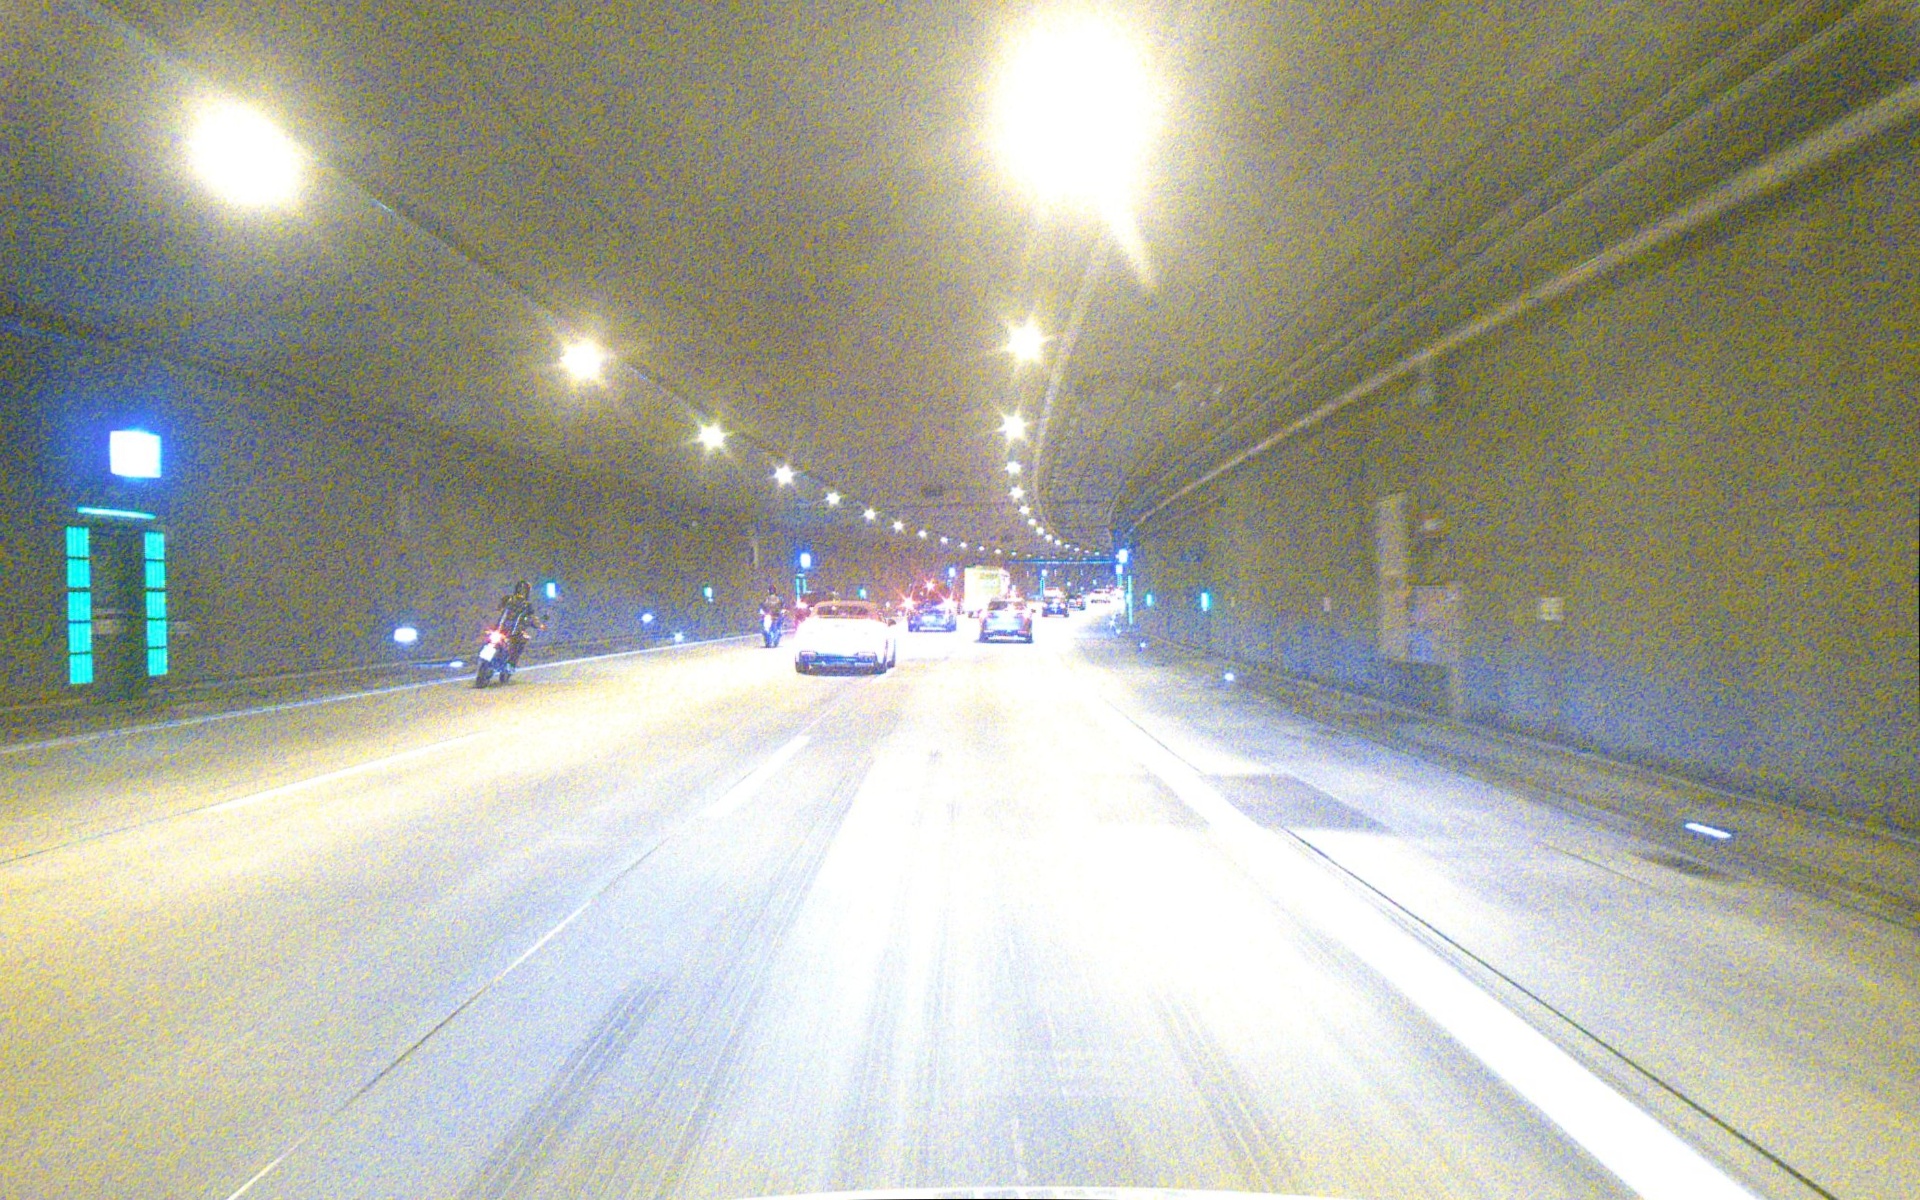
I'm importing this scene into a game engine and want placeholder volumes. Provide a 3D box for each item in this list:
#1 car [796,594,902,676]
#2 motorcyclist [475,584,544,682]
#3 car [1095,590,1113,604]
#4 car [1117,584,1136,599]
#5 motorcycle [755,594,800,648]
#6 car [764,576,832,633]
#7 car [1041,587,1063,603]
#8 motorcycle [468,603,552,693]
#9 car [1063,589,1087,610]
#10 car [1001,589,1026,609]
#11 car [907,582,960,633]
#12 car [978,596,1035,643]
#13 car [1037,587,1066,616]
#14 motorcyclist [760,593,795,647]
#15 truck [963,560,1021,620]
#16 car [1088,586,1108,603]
[{"bbox_3d":[-2.178,0.655,33.607,1.667,1.443,5.062,0,1,2],"label":"car"},{"bbox_3d":[-6.967,0.507,25.616,0.761,1.478,1.068,1,0,-1],"label":"motorcyclist"},{"bbox_3d":[18.112,-0.375,208.195,1.889,1.671,4.003,1,0,10],"label":"car"},{"bbox_3d":[19.762,-1.033,196.391,1.951,1.660,4.003,1,0,9],"label":"car"},{"bbox_3d":[-5.104,0.581,46.396,0.907,1.459,2.963,1,0,-1],"label":"motorcycle"},{"bbox_3d":[-6.098,0.169,62.558,1.952,2.049,4.001,1,0,3],"label":"car"},{"bbox_3d":[10.212,-0.551,183.255,1.889,1.671,4.003,1,0,12],"label":"car"},{"bbox_3d":[-6.970,0.716,25.725,0.669,1.319,2.398,0,0,-1],"label":"motorcycle"},{"bbox_3d":[9.826,-0.027,141.523,1.909,1.803,4.002,1,0,5],"label":"car"},{"bbox_3d":[4.831,-0.086,149.091,1.889,1.671,4.003,1,0,7],"label":"car"},{"bbox_3d":[-1.064,0.269,69.307,1.869,1.978,3.874,0,2,4],"label":"car"},{"bbox_3d":[1.622,0.696,56.377,1.705,1.490,3.872,1,-2,4],"label":"car"},{"bbox_3d":[6.291,0.110,113.274,1.818,1.887,4.002,1,0,5],"label":"car"},{"bbox_3d":[-5.106,0.546,46.348,0.790,1.473,1.865,1,0,0],"label":"motorcyclist"},{"bbox_3d":[2.155,-0.644,107.527,2.974,3.737,7.398,1,0,7],"label":"truck"},{"bbox_3d":[14.761,-0.573,176.701,1.889,1.671,4.003,1,0,8],"label":"car"}]
